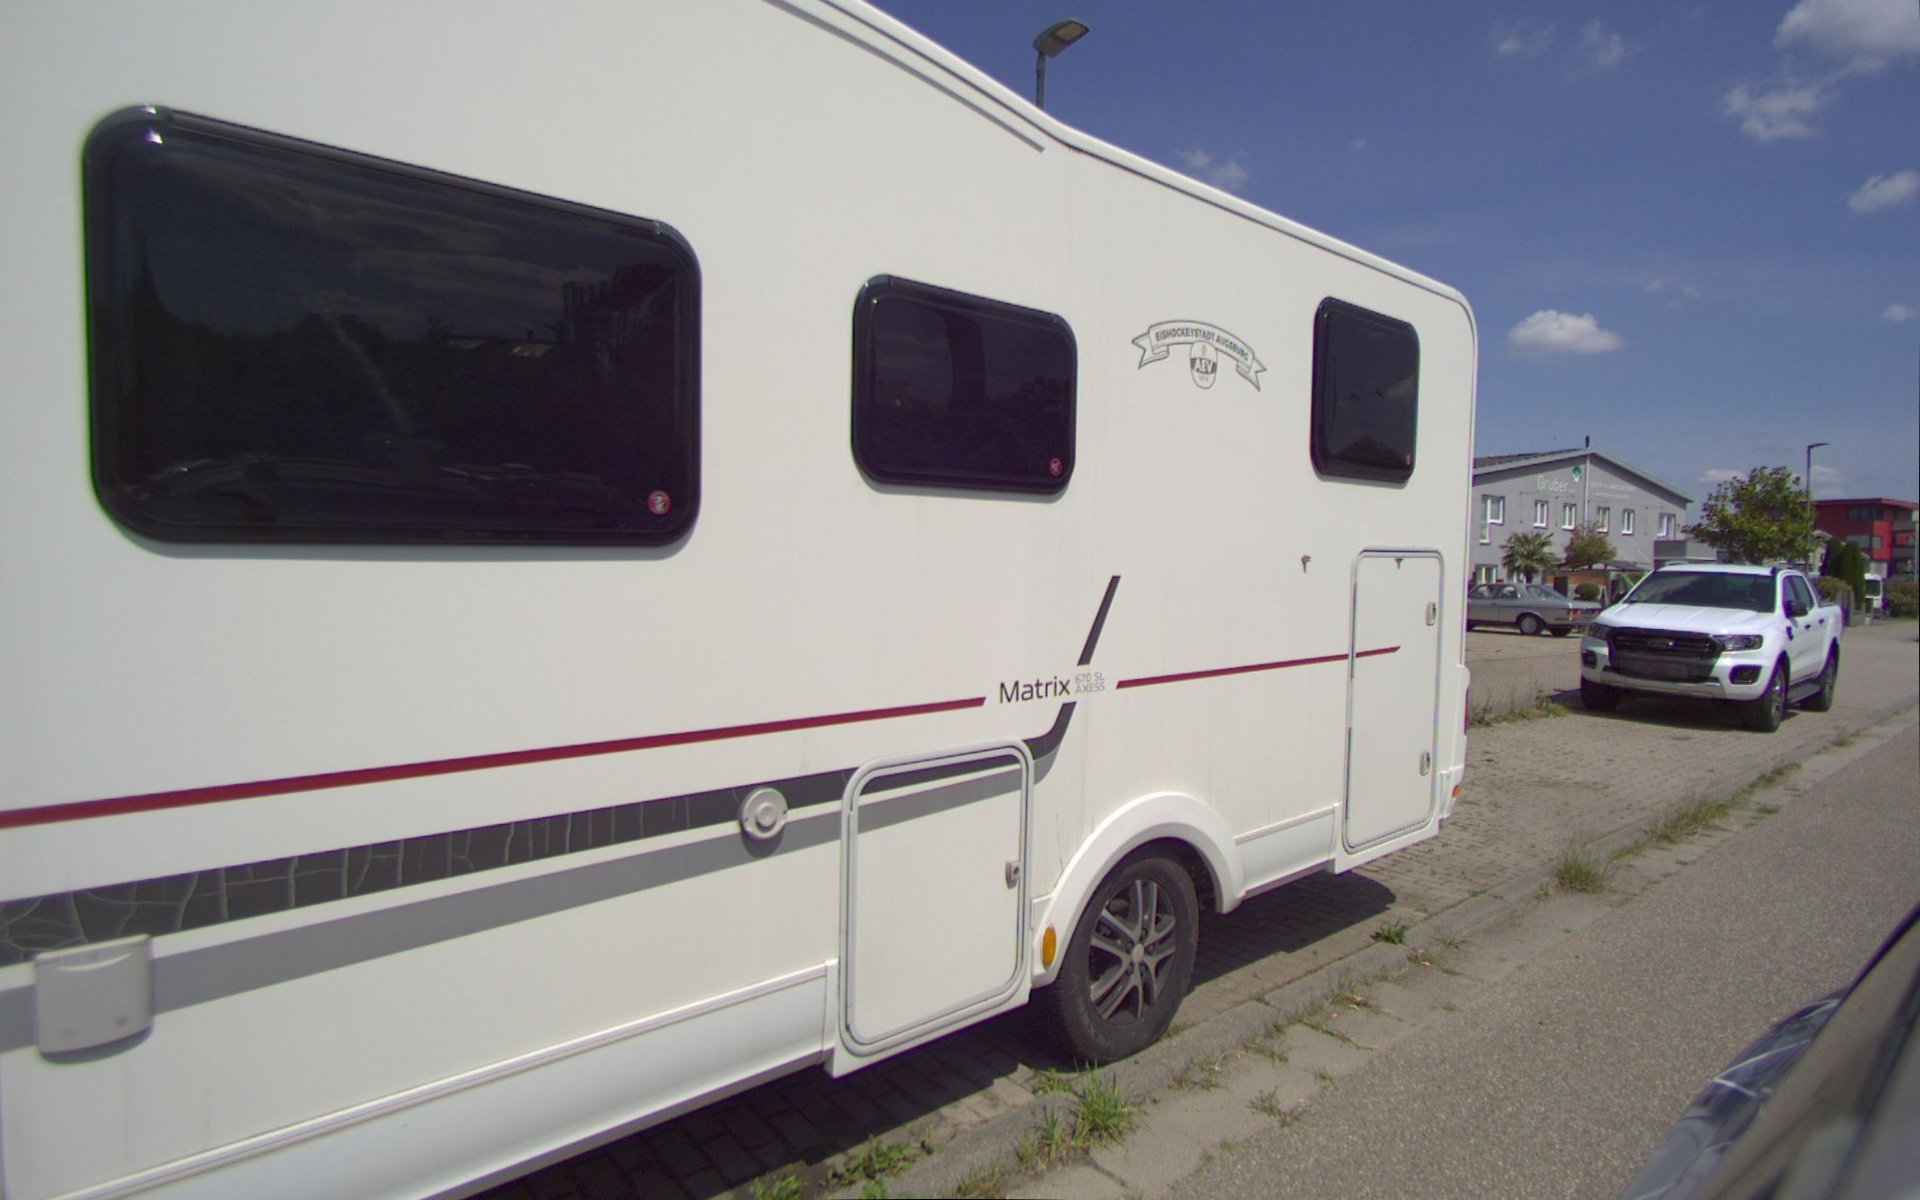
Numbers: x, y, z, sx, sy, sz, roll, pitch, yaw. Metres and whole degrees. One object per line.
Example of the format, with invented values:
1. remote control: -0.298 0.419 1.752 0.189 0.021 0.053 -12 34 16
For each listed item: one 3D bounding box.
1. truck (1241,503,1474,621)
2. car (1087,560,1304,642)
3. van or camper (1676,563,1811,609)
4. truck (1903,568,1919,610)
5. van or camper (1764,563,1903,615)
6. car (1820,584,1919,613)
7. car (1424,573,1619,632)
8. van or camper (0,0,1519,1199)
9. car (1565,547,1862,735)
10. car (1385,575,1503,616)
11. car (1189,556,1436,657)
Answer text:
1. truck: 12.743 -1.220 33.046 3.045 3.430 6.489 0 2 -32
2. car: 4.567 0.000 19.505 3.920 1.393 1.755 0 3 -31
3. van or camper: 45.899 -0.870 59.467 2.091 2.467 5.850 1 2 -30
4. truck: 64.636 -0.661 66.553 5.669 2.722 2.388 0 2 -32
5. van or camper: 45.712 -0.636 53.113 1.959 2.565 5.118 1 2 -26
6. car: 54.242 -0.099 60.078 1.684 1.505 4.606 0 2 -39
7. car: 15.347 0.017 27.893 1.937 1.437 4.286 0 2 -31
8. van or camper: -1.184 -0.172 3.005 7.489 2.861 2.444 0 3 -41
9. car: 9.447 0.362 12.482 5.331 1.837 1.851 0 3 -42
10. car: 17.060 -0.153 35.633 3.921 1.340 1.791 0 2 -29
11. car: 6.003 0.068 17.146 3.922 1.498 1.913 0 3 -33
